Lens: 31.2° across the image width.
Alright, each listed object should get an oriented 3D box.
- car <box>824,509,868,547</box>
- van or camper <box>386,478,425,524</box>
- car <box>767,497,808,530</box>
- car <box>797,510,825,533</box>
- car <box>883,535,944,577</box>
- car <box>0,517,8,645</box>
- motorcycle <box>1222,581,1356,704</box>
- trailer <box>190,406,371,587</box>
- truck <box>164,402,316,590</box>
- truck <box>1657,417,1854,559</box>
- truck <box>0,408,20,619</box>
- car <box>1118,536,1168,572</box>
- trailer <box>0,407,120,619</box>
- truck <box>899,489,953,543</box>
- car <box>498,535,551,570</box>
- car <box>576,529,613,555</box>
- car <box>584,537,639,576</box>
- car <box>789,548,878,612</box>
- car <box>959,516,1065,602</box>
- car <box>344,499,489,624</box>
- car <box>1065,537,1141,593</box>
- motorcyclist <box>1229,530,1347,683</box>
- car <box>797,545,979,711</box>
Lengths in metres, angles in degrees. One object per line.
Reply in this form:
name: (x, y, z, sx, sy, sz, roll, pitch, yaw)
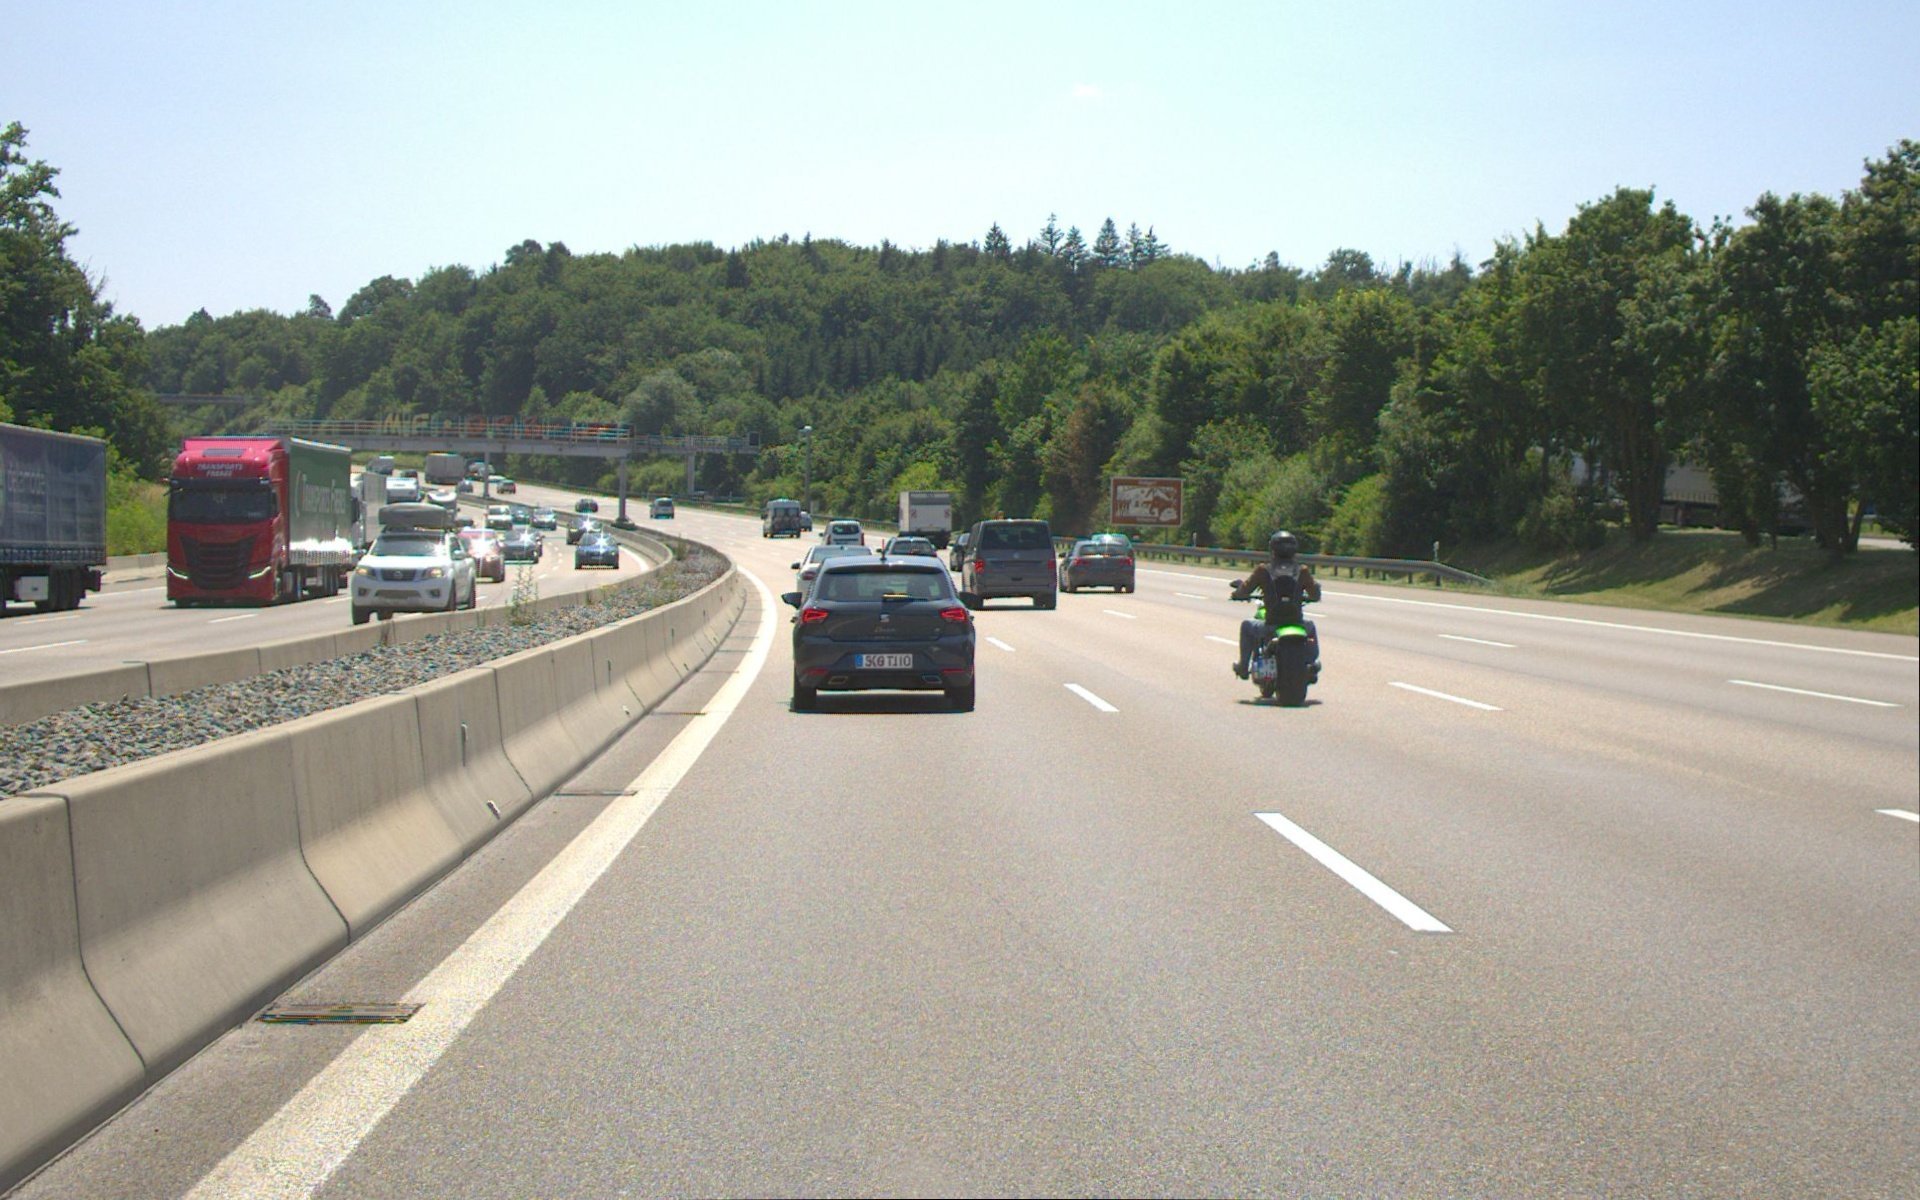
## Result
car: (-5.377, -3.395, 161.845, 1.993, 1.678, 4.424, 3, 1, -2)
van or camper: (-37.546, -6.709, 232.932, 2.314, 2.762, 7.166, 3, 3, -8)
car: (-11.602, -5.830, 231.412, 1.993, 2.006, 4.676, 3, 1, -11)
car: (-11.110, -5.841, 256.040, 1.993, 1.568, 4.001, 3, 1, -2)
car: (-1.560, -1.458, 113.159, 1.842, 1.218, 4.225, 3, 1, -2)
car: (-15.650, -0.263, 50.305, 1.993, 1.963, 5.738, 0, 1, -2)
motorcycle: (3.162, 0.389, 33.276, 0.977, 1.125, 2.271, 1, 1, -2)
trailer: (-17.635, -2.690, 90.173, 2.501, 4.336, 14.304, 1, 2, -3)
truck: (-17.378, -2.505, 83.346, 2.501, 4.336, 6.606, 1, 1, -2)
truck: (28.697, -3.971, 124.914, 3.326, 4.813, 14.700, 0, 1, -2)
truck: (-20.881, -1.755, 69.082, 2.500, 4.336, 6.606, 0, 1, -3)
car: (6.462, -1.609, 121.800, 1.608, 1.208, 3.460, 0, 0, 0)
trailer: (-21.174, -1.926, 75.795, 2.501, 4.336, 13.699, 1, 1, -3)
truck: (-1.914, -4.659, 190.587, 2.726, 2.776, 5.684, 3, 1, -2)
car: (-19.646, -2.140, 155.330, 2.024, 1.543, 4.882, -1, 1, -3)
car: (-21.915, -3.476, 206.288, 1.986, 1.543, 4.882, 0, 1, -3)
car: (-14.167, -1.783, 139.994, 1.993, 1.543, 4.882, -1, 1, -3)
car: (-2.644, -0.430, 71.424, 1.782, 1.261, 3.460, -1, 1, -3)
car: (1.126, -0.921, 76.598, 2.097, 1.845, 4.081, 0, 1, -3)
car: (-10.333, -0.755, 65.700, 1.993, 2.281, 5.766, 0, 1, -2)
car: (3.886, -0.946, 93.634, 1.675, 1.427, 3.685, 2, 0, -3)
motorcyclist: (3.132, 0.046, 32.915, 0.962, 1.433, 1.235, 0, 1, -2)
car: (-0.730, 0.227, 32.857, 1.624, 1.482, 3.685, 0, 1, -3)
